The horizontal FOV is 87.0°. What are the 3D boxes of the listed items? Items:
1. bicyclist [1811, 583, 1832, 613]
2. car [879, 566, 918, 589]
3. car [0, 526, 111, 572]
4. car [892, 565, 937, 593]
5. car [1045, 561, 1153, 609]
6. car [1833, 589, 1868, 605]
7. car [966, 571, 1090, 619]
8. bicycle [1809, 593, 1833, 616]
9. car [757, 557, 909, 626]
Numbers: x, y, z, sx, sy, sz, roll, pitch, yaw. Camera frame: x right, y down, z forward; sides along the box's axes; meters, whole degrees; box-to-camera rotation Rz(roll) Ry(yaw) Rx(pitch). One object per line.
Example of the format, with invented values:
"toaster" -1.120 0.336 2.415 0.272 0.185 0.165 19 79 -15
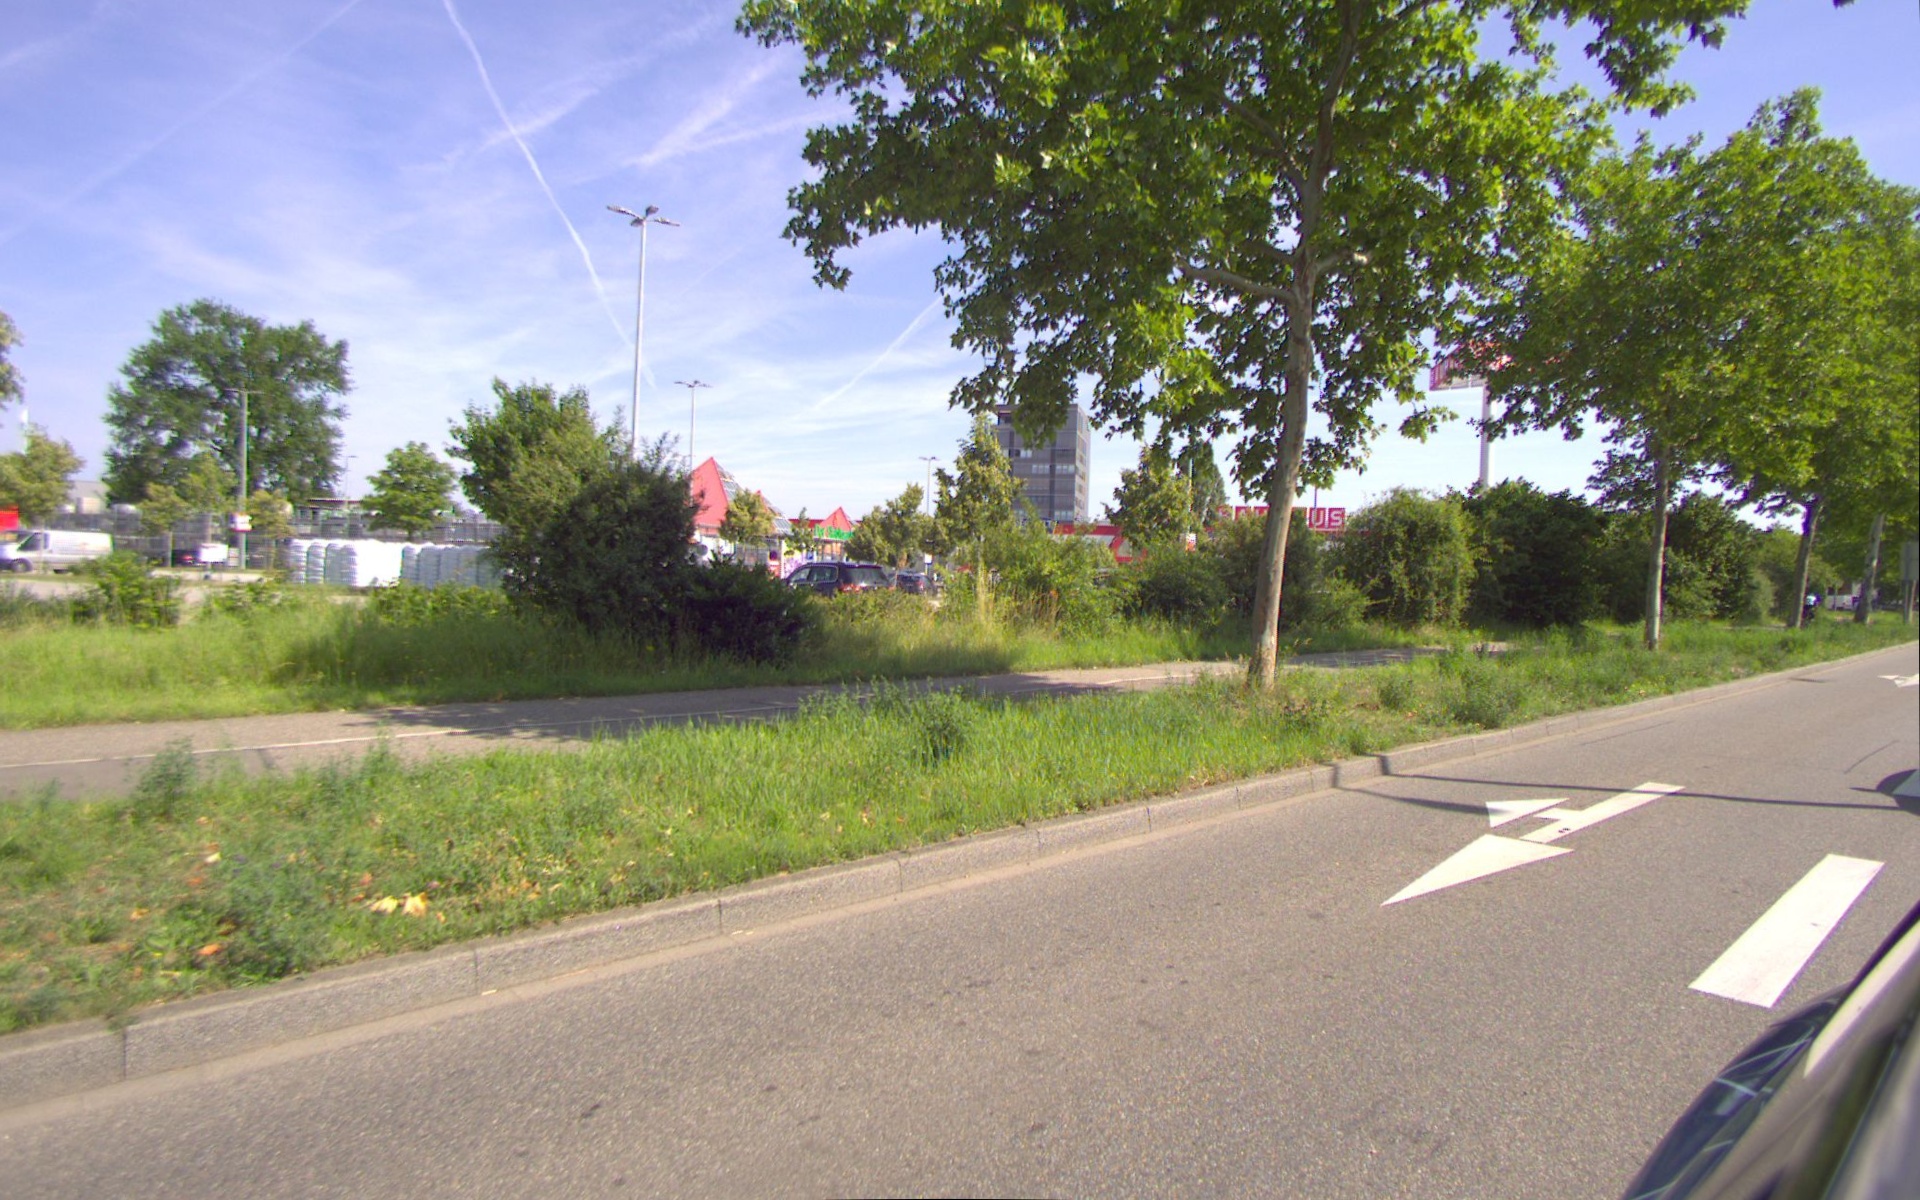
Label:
"bicyclist" 47.987 -0.098 56.371 0.984 1.651 0.686 0 2 -41
"car" -4.386 -1.638 72.799 1.665 1.593 3.985 2 2 13
"car" -40.192 -2.221 44.092 1.846 1.838 4.815 3 1 11
"car" -2.707 -1.284 60.582 1.665 1.593 3.985 2 2 13
"car" 5.121 -0.572 37.227 3.801 1.604 1.844 2 2 11
"car" 124.690 -0.465 141.720 1.974 2.038 4.671 2 2 18
"car" 2.086 -0.193 31.454 3.553 1.316 1.740 3 2 43
"bicycle" 47.938 0.251 56.341 1.900 1.252 0.686 0 2 -41
"car" -3.314 -0.268 25.985 3.850 1.604 1.821 3 2 43
